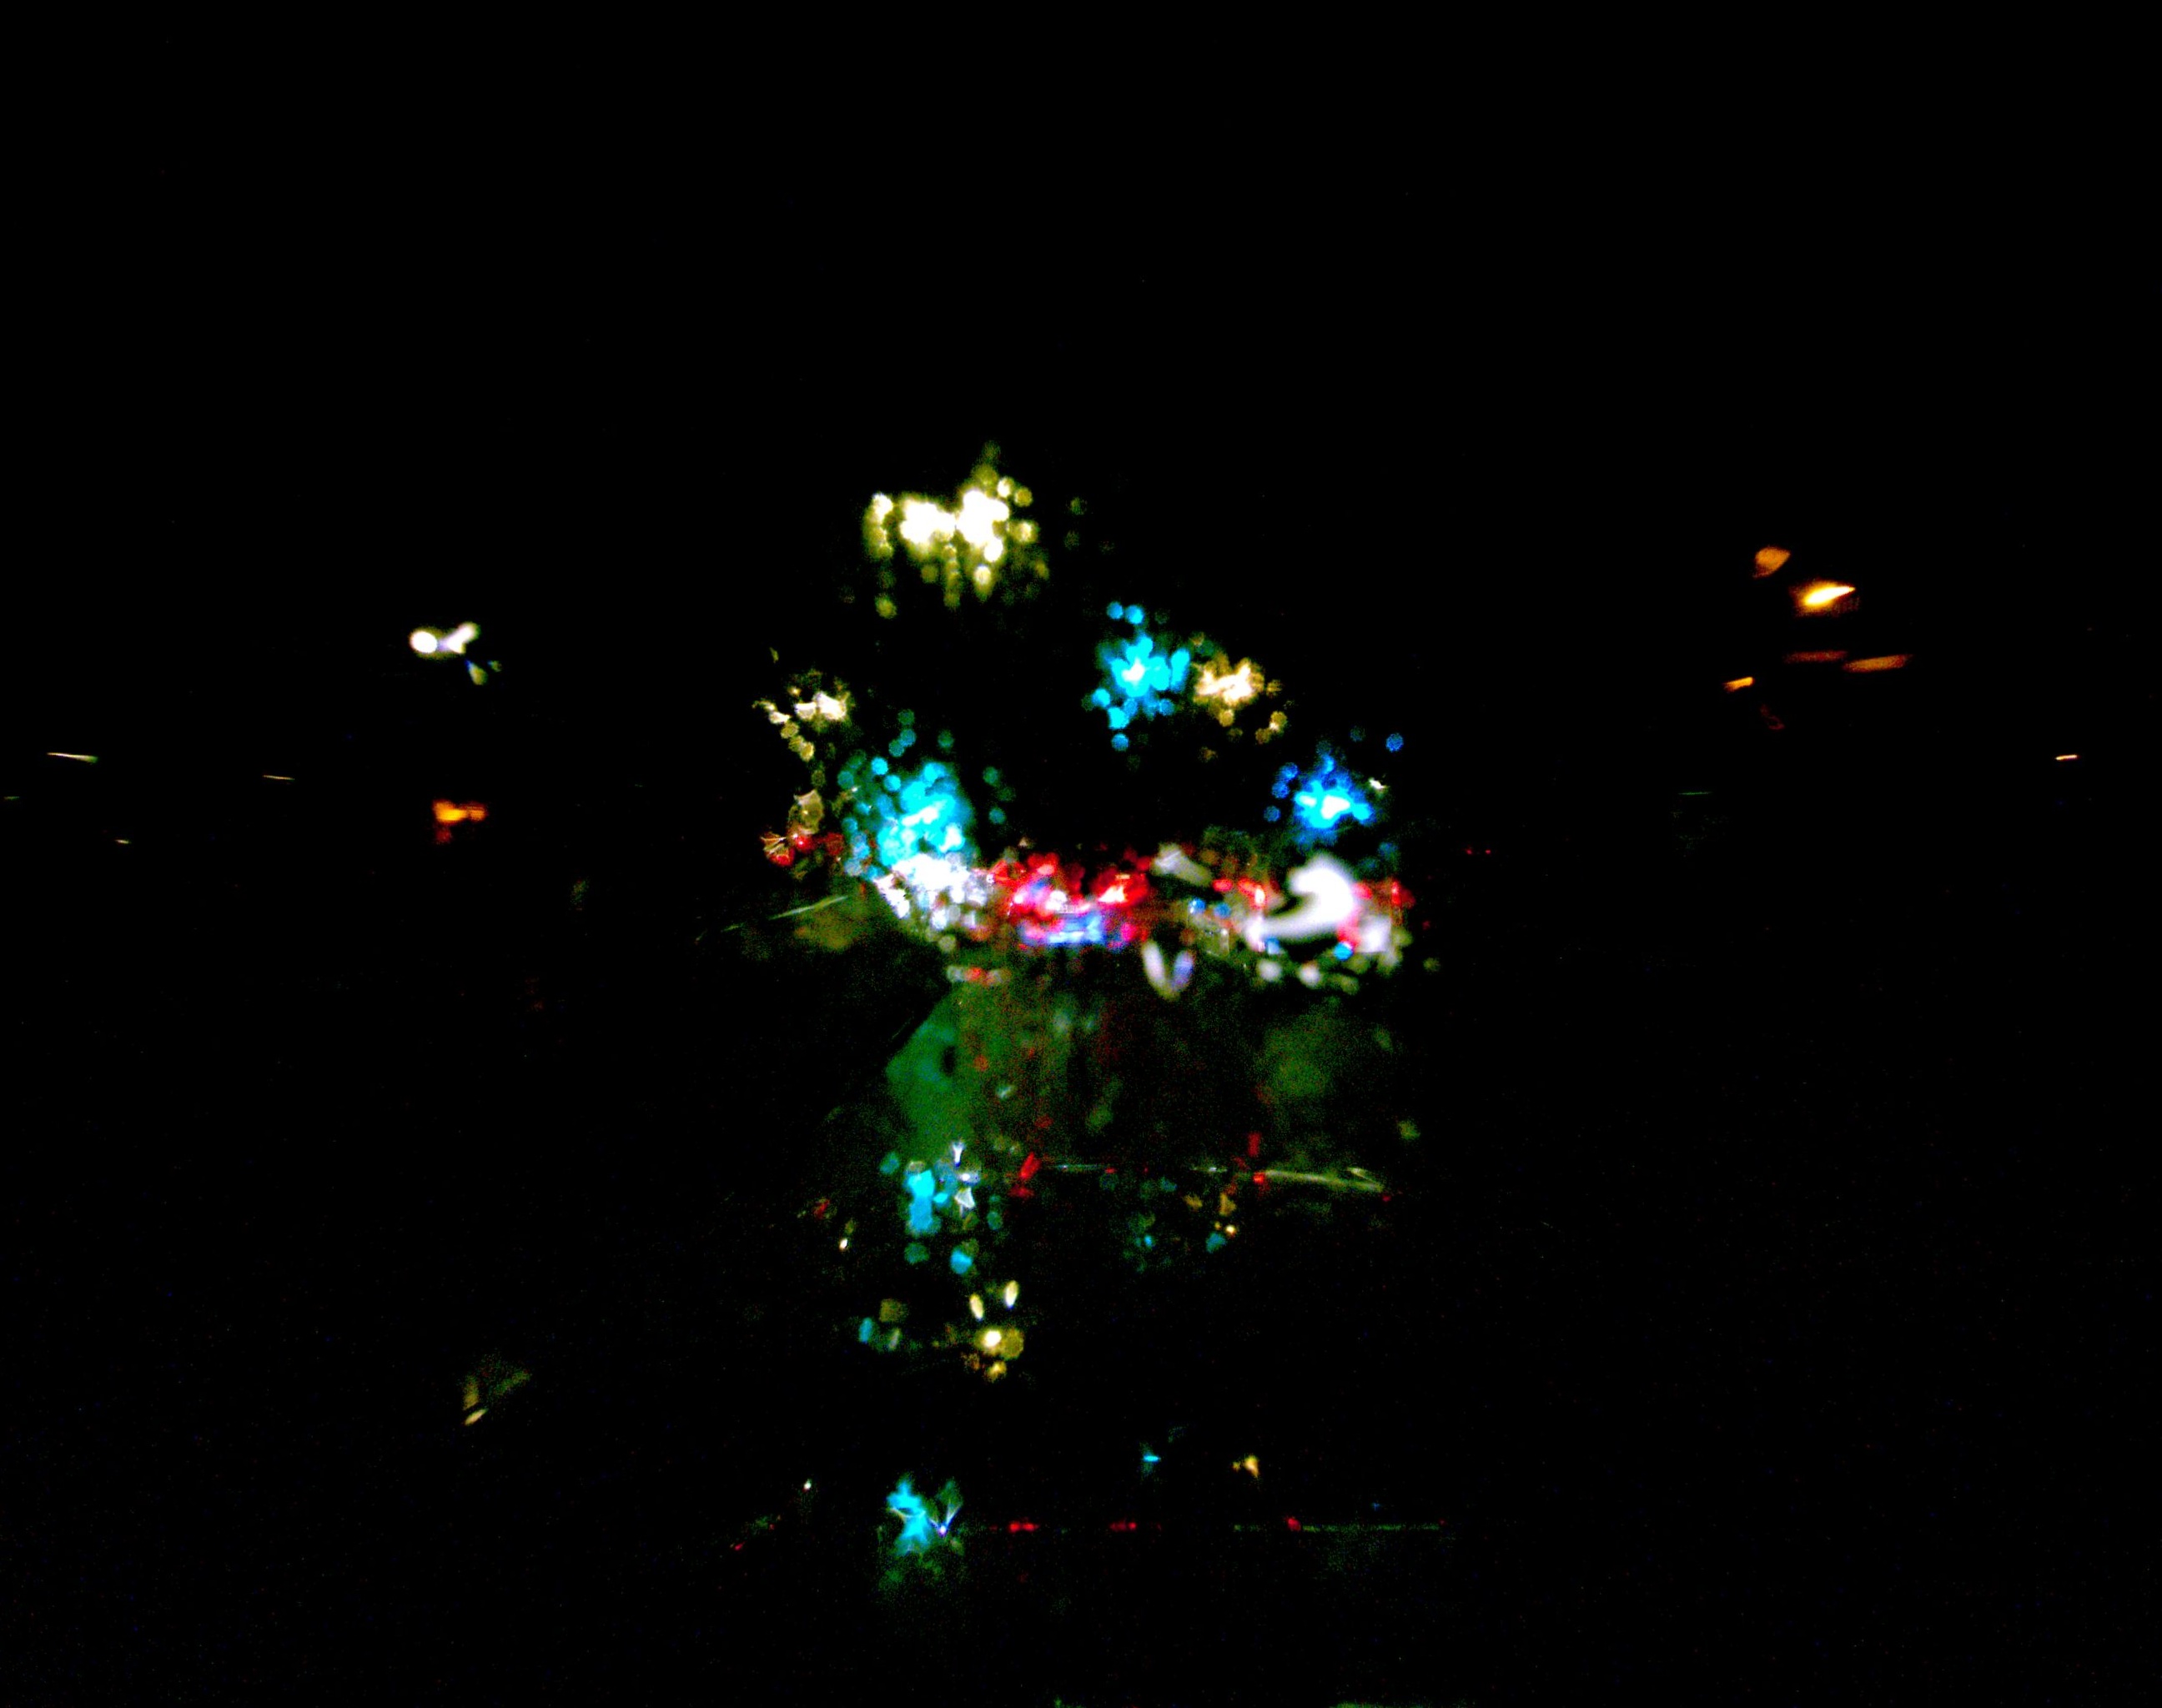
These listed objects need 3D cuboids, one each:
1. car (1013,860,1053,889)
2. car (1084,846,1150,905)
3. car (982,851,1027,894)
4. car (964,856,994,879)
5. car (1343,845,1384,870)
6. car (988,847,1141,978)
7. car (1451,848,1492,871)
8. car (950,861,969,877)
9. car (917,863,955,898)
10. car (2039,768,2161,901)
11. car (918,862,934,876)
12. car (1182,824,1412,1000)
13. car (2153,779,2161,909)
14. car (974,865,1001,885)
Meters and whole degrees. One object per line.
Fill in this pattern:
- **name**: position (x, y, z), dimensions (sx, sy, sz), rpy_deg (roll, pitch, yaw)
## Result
- **car**: position (-3.061, 1.270, 51.240), dimensions (1.994, 1.718, 3.984), rpy_deg (0, -1, -11)
- **car**: position (1.251, 0.764, 30.061), dimensions (1.965, 2.047, 3.993), rpy_deg (0, -1, -5)
- **car**: position (-3.838, 0.898, 40.338), dimensions (1.993, 2.014, 3.987), rpy_deg (0, -1, -9)
- **car**: position (-7.904, 1.044, 62.832), dimensions (1.995, 1.732, 3.983), rpy_deg (0, -1, -12)
- **car**: position (20.751, 0.271, 60.063), dimensions (1.856, 1.646, 3.968), rpy_deg (-3, -1, 4)
- **car**: position (-0.260, 0.786, 12.897), dimensions (2.009, 1.717, 4.449), rpy_deg (0, -1, -1)
- **car**: position (28.643, 0.401, 59.893), dimensions (1.761, 1.669, 4.082), rpy_deg (0, -1, 11)
- **car**: position (-14.214, 1.784, 95.064), dimensions (1.995, 1.820, 3.984), rpy_deg (0, -1, -12)
- **car**: position (-8.436, 1.486, 47.329), dimensions (2.015, 1.887, 4.435), rpy_deg (0, 0, -11)
- **car**: position (14.573, -0.232, 9.613), dimensions (3.838, 1.574, 1.845), rpy_deg (0, -1, 32)
- **car**: position (-20.923, 2.051, 109.829), dimensions (1.995, 1.824, 3.983), rpy_deg (0, -1, -12)
- **car**: position (2.566, 0.633, 10.823), dimensions (1.846, 1.865, 4.338), rpy_deg (0, -1, -1)
- **car**: position (13.507, -0.133, 7.317), dimensions (4.286, 1.460, 1.863), rpy_deg (0, -1, 32)
- **car**: position (-8.168, 1.805, 71.211), dimensions (1.995, 1.670, 3.983), rpy_deg (0, -1, -12)
